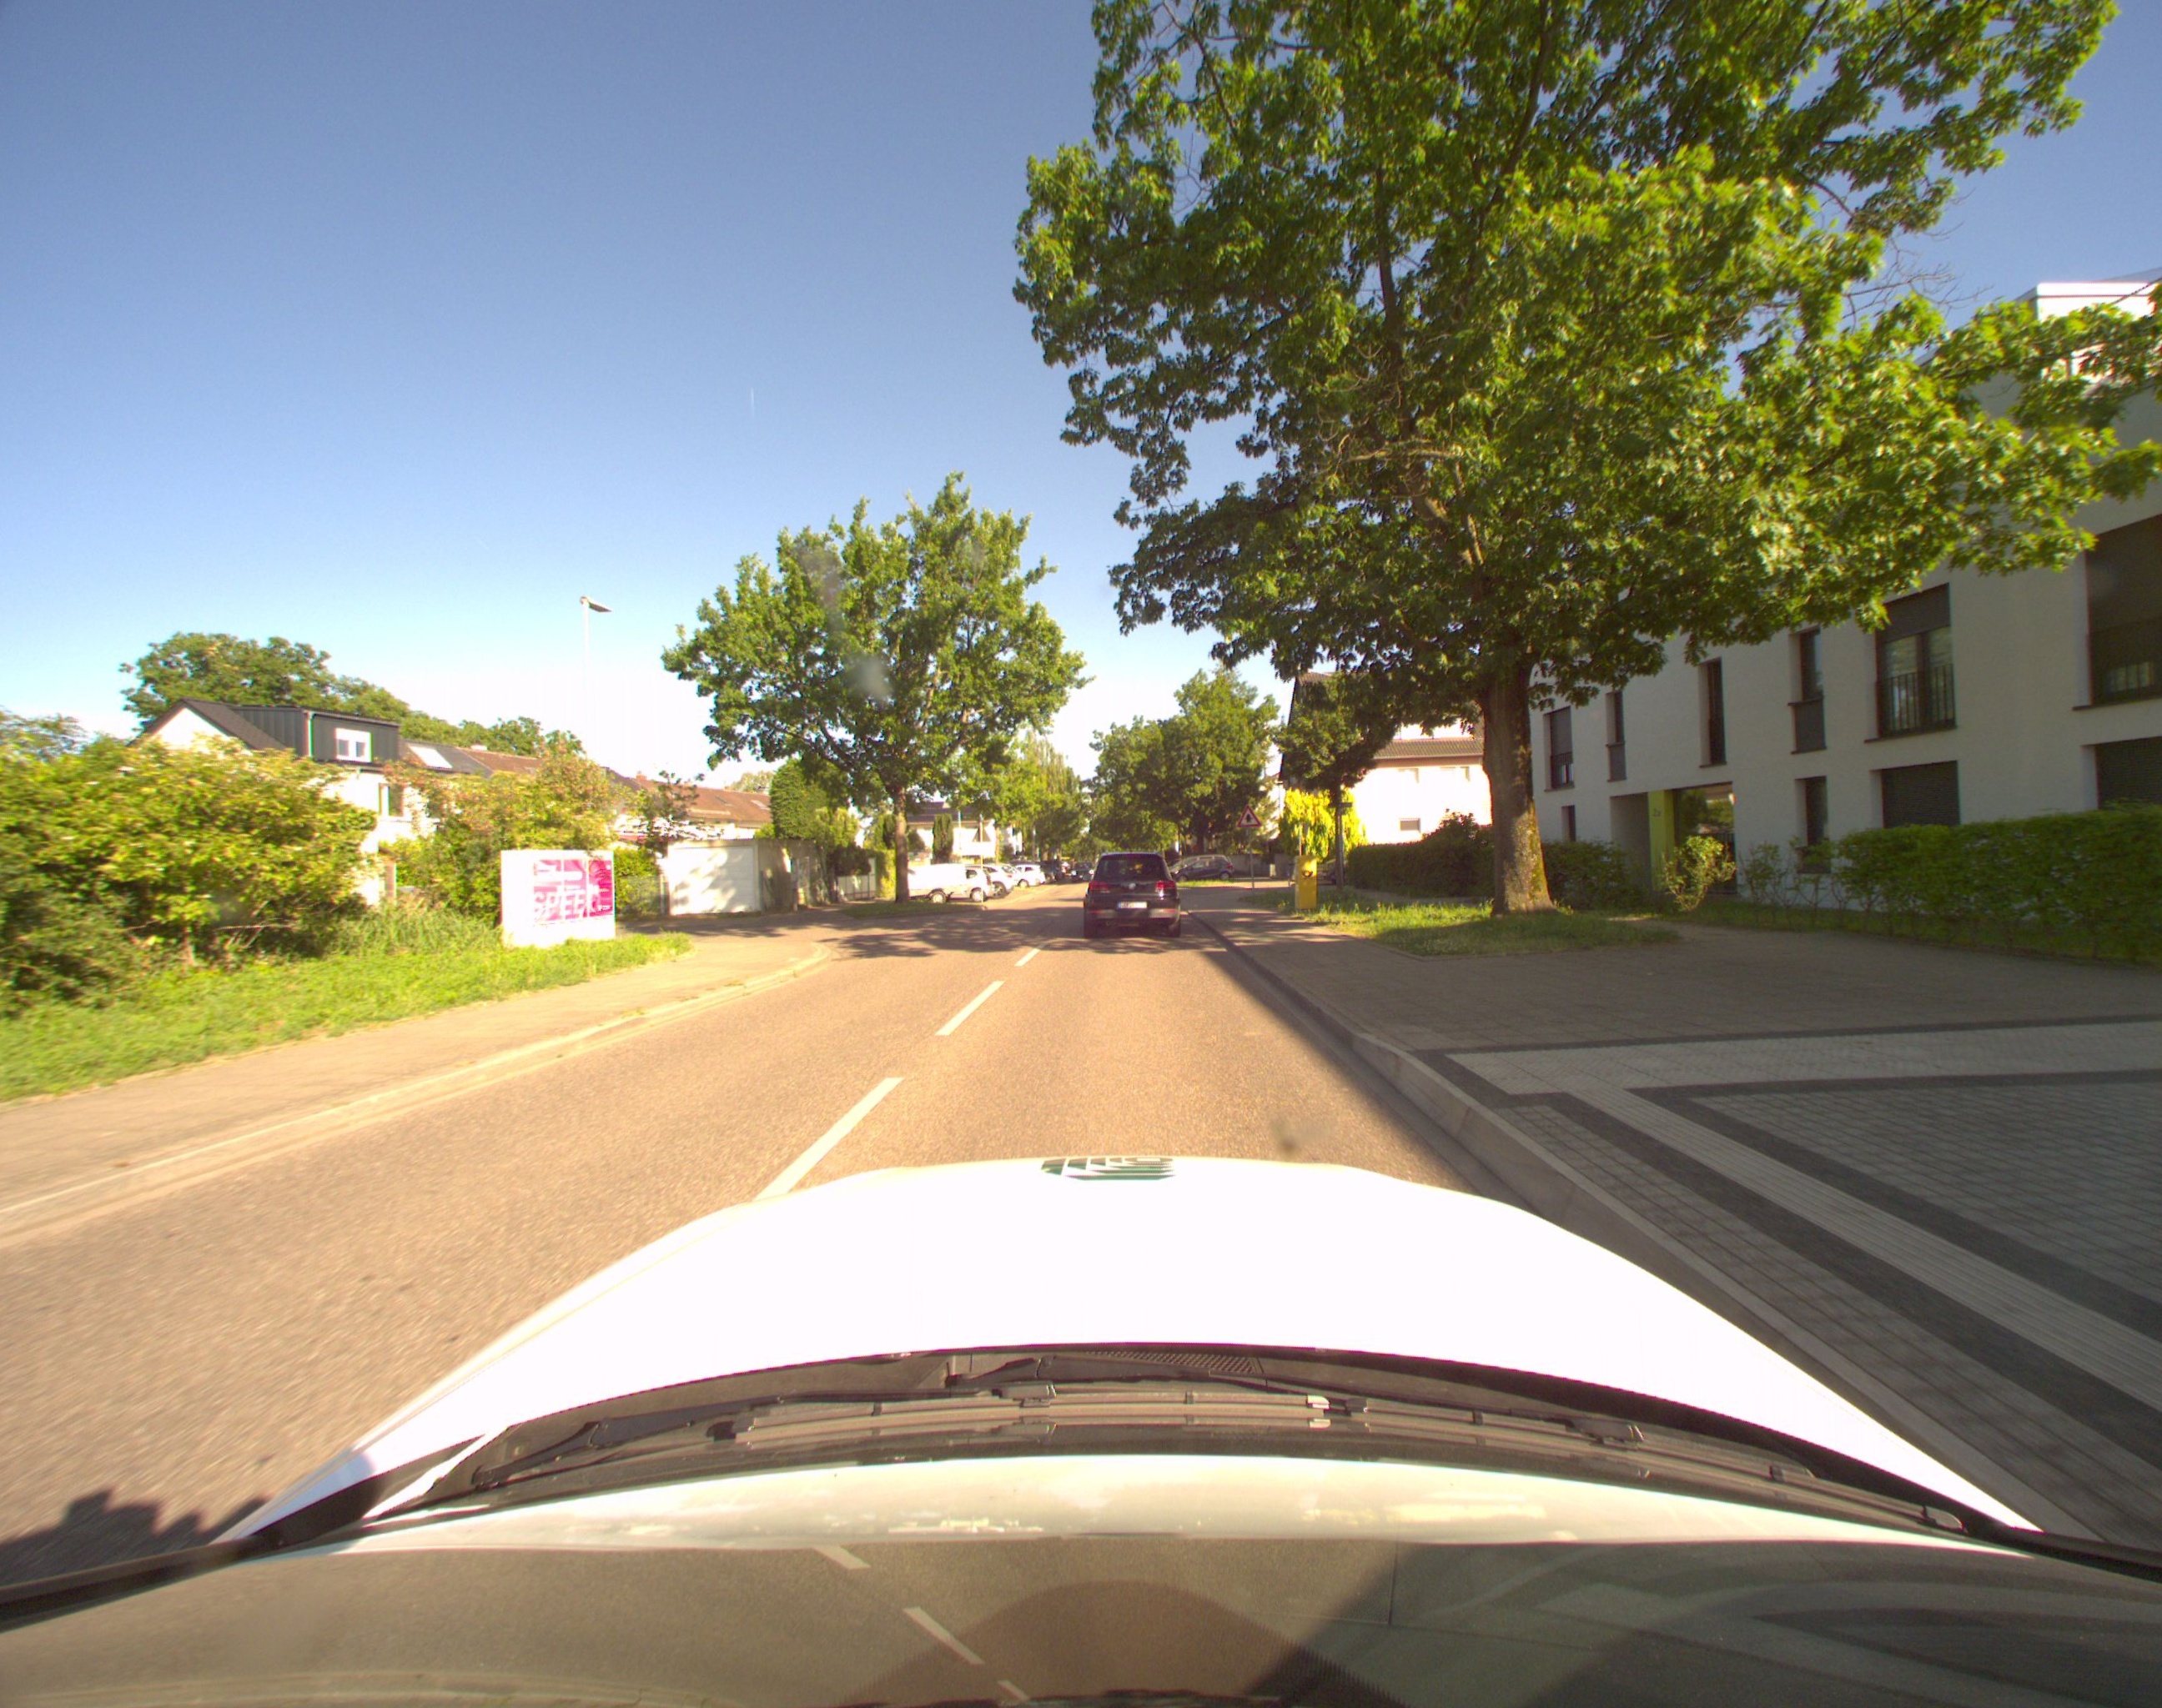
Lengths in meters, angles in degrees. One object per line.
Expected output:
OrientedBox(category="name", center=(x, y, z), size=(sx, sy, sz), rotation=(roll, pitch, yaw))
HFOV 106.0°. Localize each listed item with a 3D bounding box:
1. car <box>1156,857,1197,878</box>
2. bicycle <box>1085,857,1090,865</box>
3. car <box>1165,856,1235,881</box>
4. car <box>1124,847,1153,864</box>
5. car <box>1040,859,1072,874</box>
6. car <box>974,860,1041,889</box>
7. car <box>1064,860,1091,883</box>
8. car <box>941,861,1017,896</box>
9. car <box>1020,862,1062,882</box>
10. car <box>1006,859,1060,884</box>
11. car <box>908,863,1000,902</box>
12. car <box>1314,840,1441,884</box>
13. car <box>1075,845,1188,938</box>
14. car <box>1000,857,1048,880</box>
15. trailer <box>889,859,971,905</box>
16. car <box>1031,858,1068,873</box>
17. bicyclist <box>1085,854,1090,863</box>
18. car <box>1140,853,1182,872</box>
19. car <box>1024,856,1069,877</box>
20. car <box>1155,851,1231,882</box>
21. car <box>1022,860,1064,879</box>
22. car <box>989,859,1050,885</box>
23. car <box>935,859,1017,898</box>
OrientedBox(category="car", center=(7.497, 1.039, 64.173), size=(3.038, 1.507, 1.245), rotation=(-2, -1, -4))
OrientedBox(category="bicycle", center=(1.018, 1.159, 131.869), size=(0.636, 1.163, 1.739), rotation=(-2, -3, -2))
OrientedBox(category="car", center=(7.243, 0.870, 49.820), size=(3.972, 1.368, 1.847), rotation=(-2, -1, 1))
OrientedBox(category="car", center=(7.907, 0.228, 112.375), size=(3.971, 2.014, 2.001), rotation=(-2, -3, 2))
OrientedBox(category="car", center=(-3.187, 1.615, 104.746), size=(3.982, 1.684, 1.919), rotation=(-2, -1, -6))
OrientedBox(category="car", center=(-4.672, 1.294, 52.094), size=(3.970, 1.670, 2.001), rotation=(-2, -1, 3))
OrientedBox(category="car", center=(-0.228, 1.317, 62.074), size=(1.903, 1.555, 4.001), rotation=(-4, -1, 1))
OrientedBox(category="car", center=(-5.023, 1.192, 40.366), size=(3.541, 1.557, 1.850), rotation=(-2, -1, -3))
OrientedBox(category="car", center=(-3.228, 1.439, 66.759), size=(3.362, 1.490, 1.642), rotation=(-2, -1, -2))
OrientedBox(category="car", center=(-3.654, 1.308, 62.176), size=(3.977, 1.731, 1.998), rotation=(-2, -1, -2))
OrientedBox(category="car", center=(-5.354, 1.198, 34.617), size=(3.536, 1.477, 1.809), rotation=(-2, -1, 1))
OrientedBox(category="car", center=(13.956, 0.392, 38.576), size=(5.225, 1.847, 2.071), rotation=(-2, -2, -1))
OrientedBox(category="car", center=(0.888, 0.689, 16.914), size=(1.924, 1.654, 4.510), rotation=(0, 0, -2))
OrientedBox(category="car", center=(-4.826, 1.225, 69.671), size=(3.977, 1.836, 1.636), rotation=(-2, -1, -3))
OrientedBox(category="trailer", center=(-5.932, 1.085, 32.270), size=(2.959, 1.656, 1.395), rotation=(-2, -1, -2))
OrientedBox(category="car", center=(-3.588, 1.347, 93.513), size=(3.971, 1.499, 2.001), rotation=(-2, -3, 2))
OrientedBox(category="bicyclist", center=(1.018, 0.726, 131.913), size=(0.699, 1.346, 0.506), rotation=(-2, -3, -3))
OrientedBox(category="car", center=(7.915, 0.858, 80.784), size=(3.971, 1.775, 1.791), rotation=(-2, -1, 2))
OrientedBox(category="car", center=(-3.434, 1.261, 81.754), size=(4.379, 1.939, 1.577), rotation=(-2, -2, -3))
OrientedBox(category="car", center=(7.164, 0.790, 52.323), size=(4.616, 1.809, 1.824), rotation=(-2, -1, 1))
OrientedBox(category="car", center=(-3.661, 1.538, 79.276), size=(3.973, 1.720, 1.821), rotation=(-2, -2, 1))
OrientedBox(category="car", center=(-4.324, 1.257, 57.430), size=(3.970, 1.640, 2.002), rotation=(-2, -1, 3))
OrientedBox(category="car", center=(-4.761, 1.120, 37.283), size=(3.542, 1.613, 1.850), rotation=(-2, -1, -4))
